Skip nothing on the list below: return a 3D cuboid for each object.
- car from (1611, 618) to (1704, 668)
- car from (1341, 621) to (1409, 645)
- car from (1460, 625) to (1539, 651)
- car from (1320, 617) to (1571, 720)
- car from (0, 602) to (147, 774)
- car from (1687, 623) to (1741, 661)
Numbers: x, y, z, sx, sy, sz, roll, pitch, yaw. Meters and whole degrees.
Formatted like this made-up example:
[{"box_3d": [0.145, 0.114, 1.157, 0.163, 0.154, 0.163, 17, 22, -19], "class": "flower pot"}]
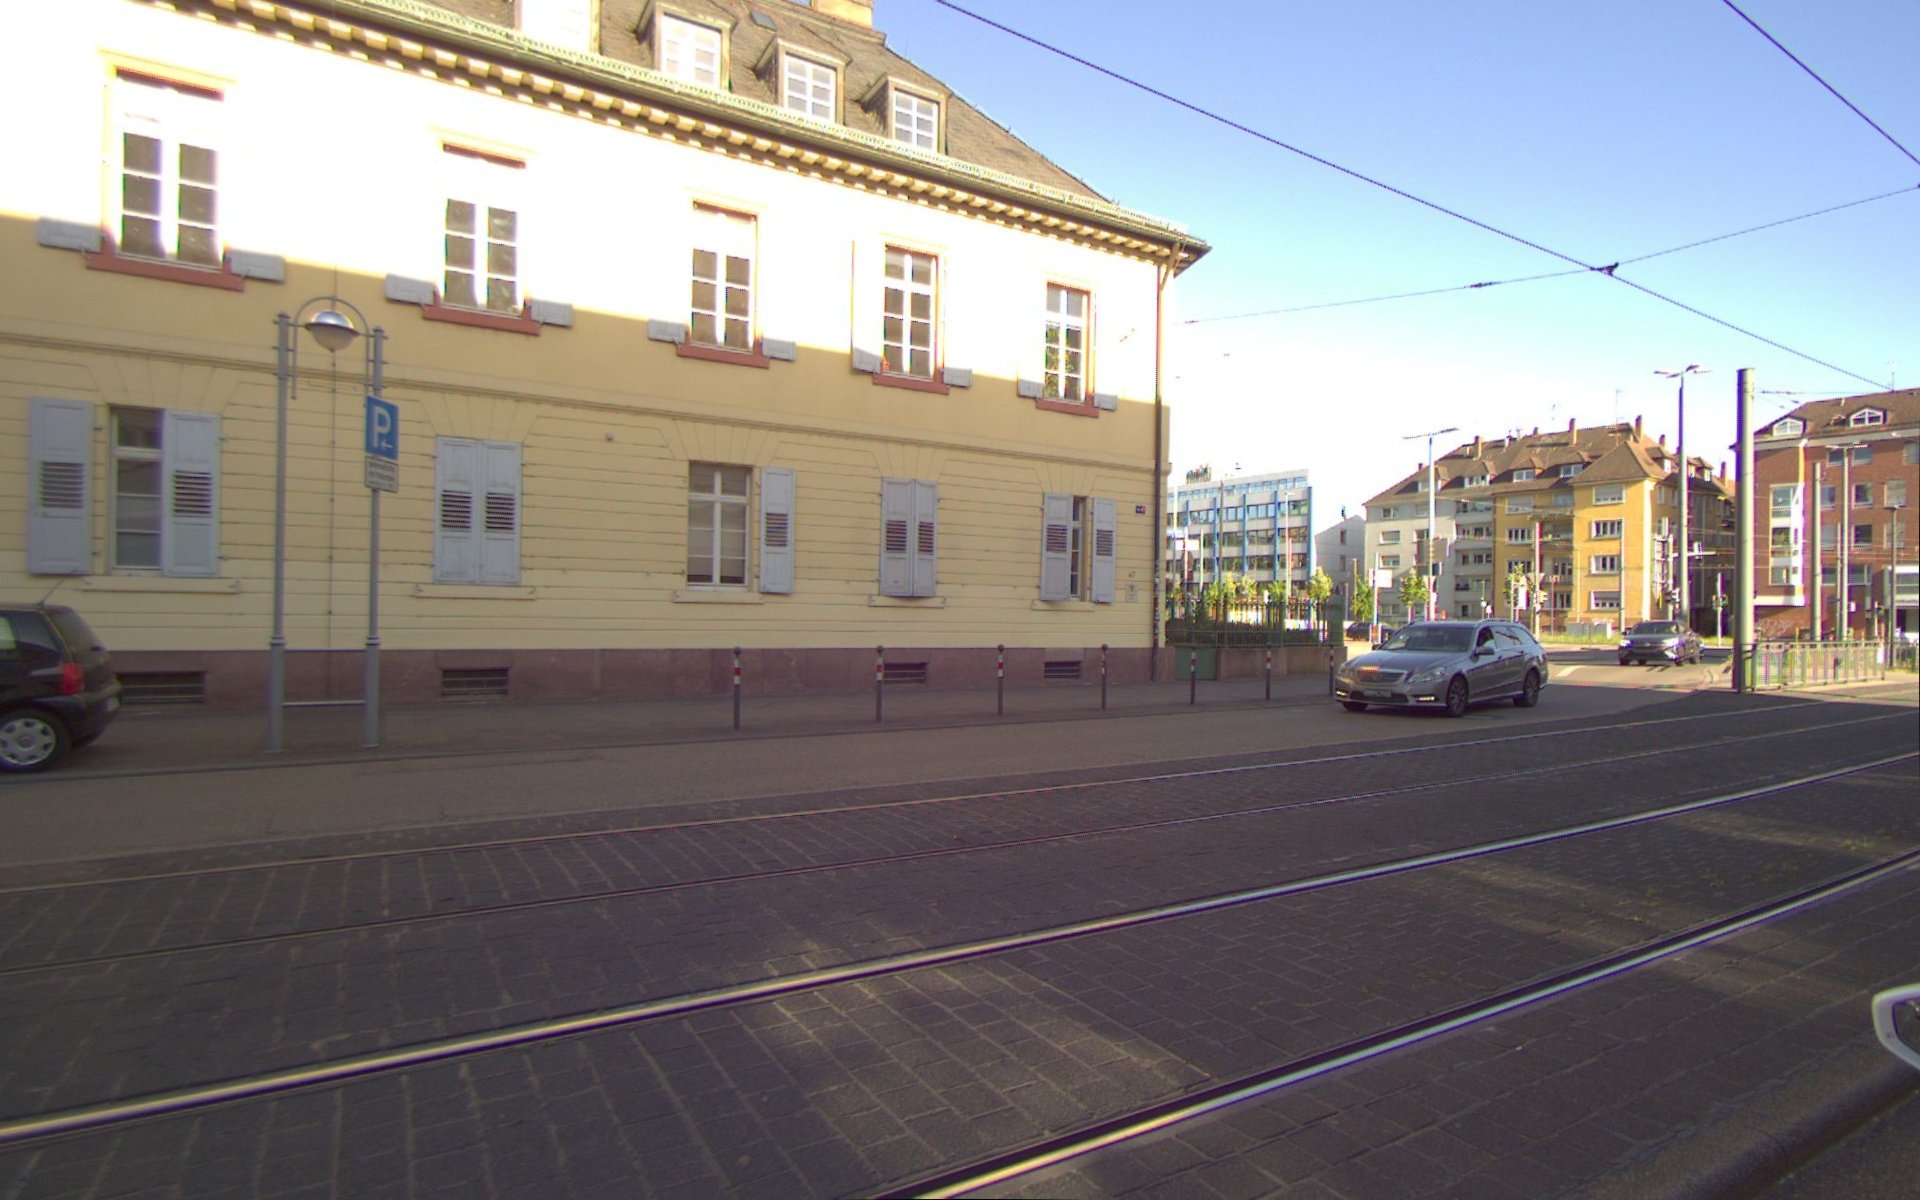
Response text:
[{"box_3d": [23.227, 1.398, 33.380, 4.251, 1.532, 1.747, 2, -1, -44], "class": "car"}, {"box_3d": [29.925, 2.344, 72.472, 1.922, 1.510, 4.112, 1, 1, -39], "class": "car"}, {"box_3d": [35.348, 2.475, 65.888, 1.922, 1.510, 4.112, 1, 0, -39], "class": "car"}, {"box_3d": [8.322, 1.072, 17.021, 4.885, 1.515, 1.866, 2, -2, -38], "class": "car"}, {"box_3d": [-9.580, 0.731, 8.734, 3.678, 1.419, 1.606, 2, 1, -31], "class": "car"}, {"box_3d": [33.644, 1.840, 44.775, 1.760, 1.589, 4.273, -1, -1, 39], "class": "car"}]
